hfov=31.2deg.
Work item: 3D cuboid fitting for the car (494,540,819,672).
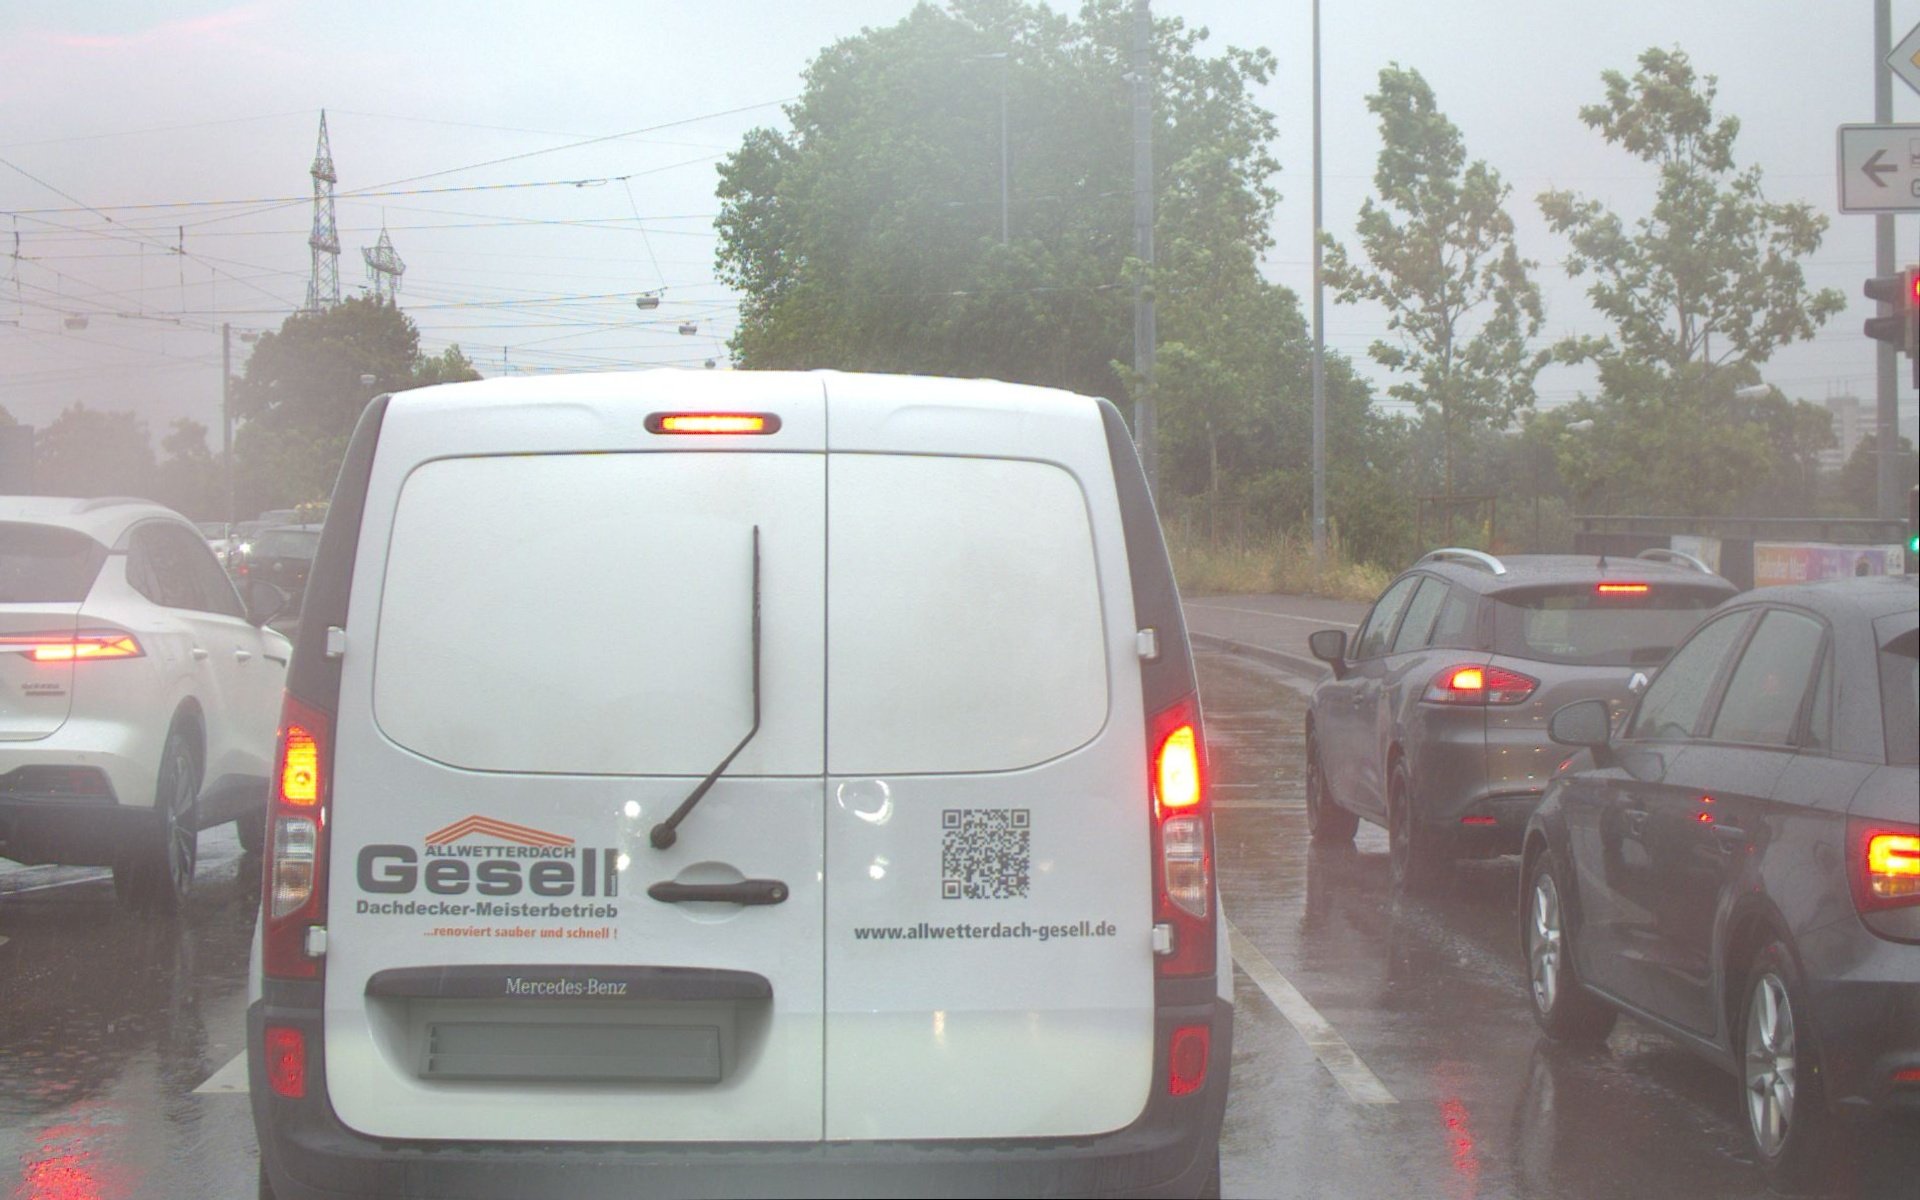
[{"bbox_3d":[-3.698,0.091,42.260,3.733,1.502,1.650,2,1,-44],"label":"car"}]

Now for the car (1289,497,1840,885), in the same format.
[{"bbox_3d":[2.578,0.332,15.552,1.684,1.503,3.921,1,1,-1],"label":"car"}]

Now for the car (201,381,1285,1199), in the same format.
[{"bbox_3d":[-0.497,0.462,7.700,1.754,1.744,4.170,1,2,-4],"label":"car"}]

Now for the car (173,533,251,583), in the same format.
[{"bbox_3d":[-22.452,-1.250,103.275,1.559,1.421,3.569,2,0,-1],"label":"car"}]

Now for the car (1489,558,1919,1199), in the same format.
[{"bbox_3d":[2.532,0.607,8.969,1.597,1.361,3.631,-1,2,-2],"label":"car"}]

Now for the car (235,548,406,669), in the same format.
[{"bbox_3d":[-8.857,0.092,47.839,1.634,1.517,3.775,3,0,-1],"label":"car"}]

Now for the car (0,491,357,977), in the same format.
[{"bbox_3d":[-3.981,0.445,14.907,1.930,1.769,4.664,1,1,-1],"label":"car"}]

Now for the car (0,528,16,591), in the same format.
[{"bbox_3d":[-22.527,-0.950,77.404,1.559,1.421,3.569,2,0,-1],"label":"car"}]
